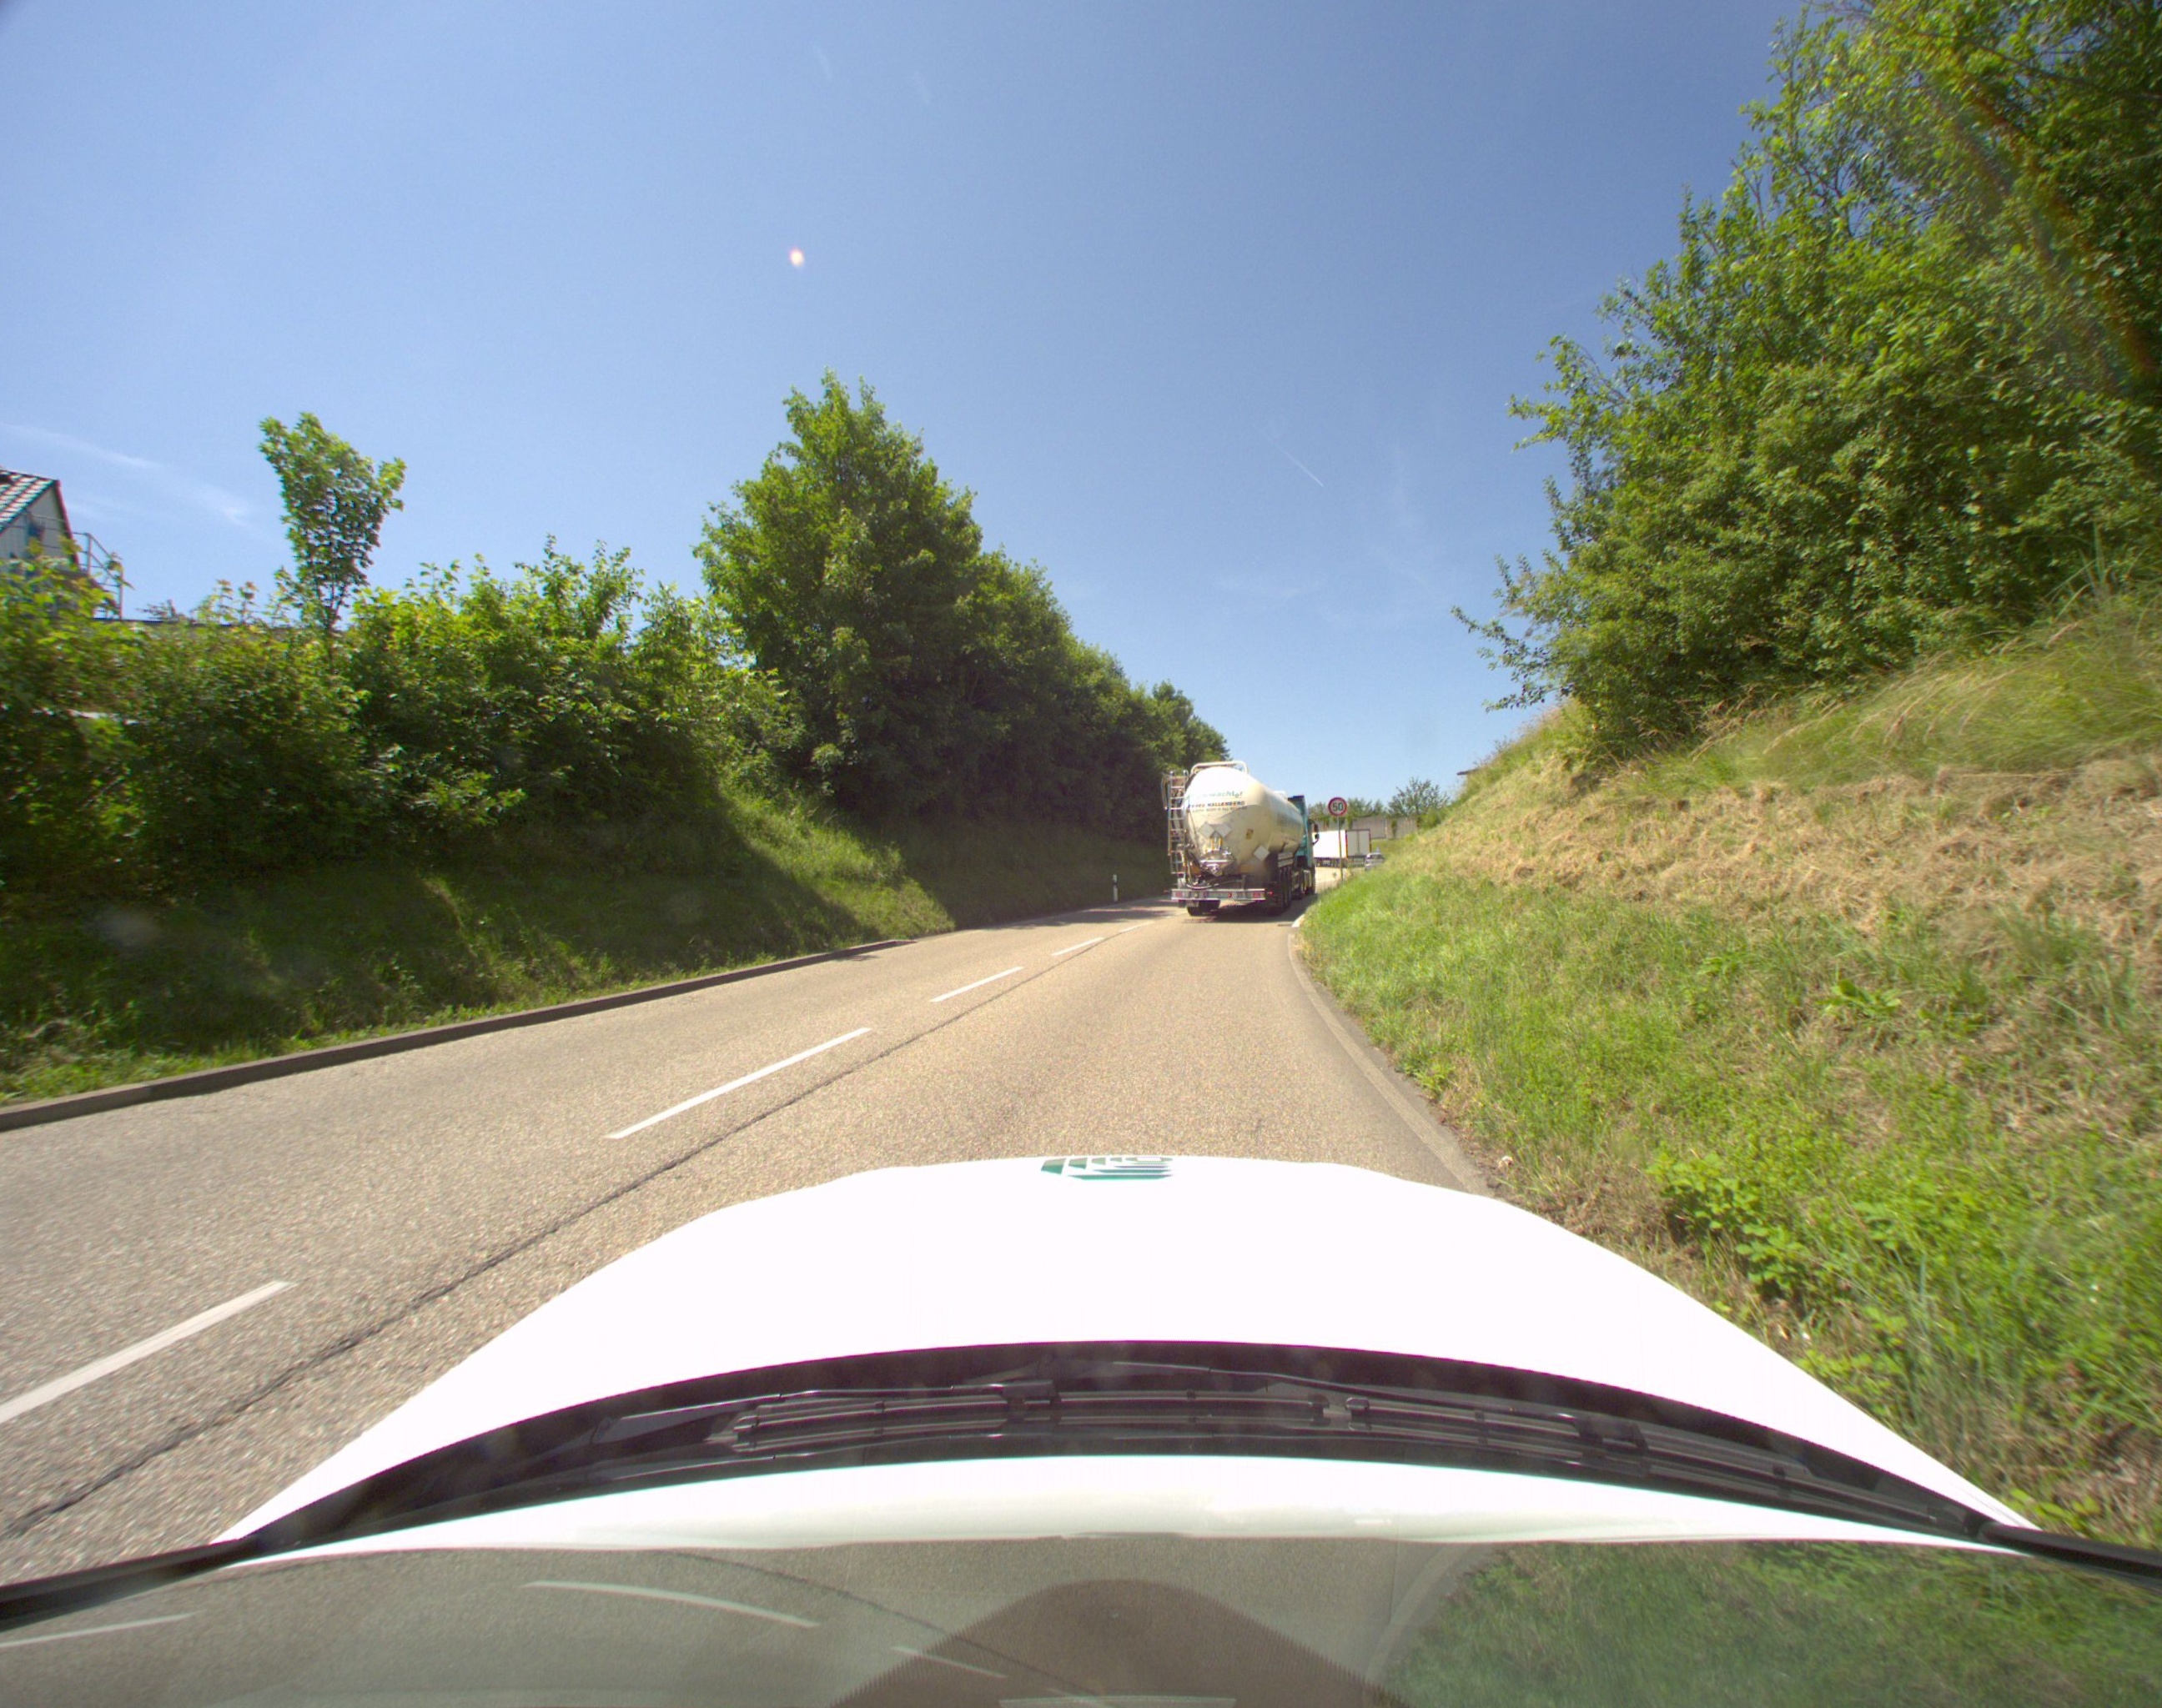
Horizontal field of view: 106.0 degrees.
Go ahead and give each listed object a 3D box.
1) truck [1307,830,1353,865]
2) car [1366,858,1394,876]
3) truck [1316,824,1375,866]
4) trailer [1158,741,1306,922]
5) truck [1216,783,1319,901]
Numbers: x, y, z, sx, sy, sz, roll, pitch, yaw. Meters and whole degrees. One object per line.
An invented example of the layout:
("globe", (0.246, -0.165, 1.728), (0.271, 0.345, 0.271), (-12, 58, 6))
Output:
("truck", (29.032, -0.743, 95.245), (3.177, 3.933, 8.257), (0, 0, 3))
("car", (25.206, 1.114, 68.637), (1.632, 1.509, 3.661), (0, -1, 30))
("truck", (28.768, -0.949, 89.283), (3.177, 4.309, 11.809), (0, 0, 3))
("trailer", (5.093, -0.490, 24.901), (2.639, 4.189, 11.961), (-1, -1, 19))
("truck", (7.306, -0.324, 31.110), (2.703, 3.930, 7.300), (-2, -1, 21))
